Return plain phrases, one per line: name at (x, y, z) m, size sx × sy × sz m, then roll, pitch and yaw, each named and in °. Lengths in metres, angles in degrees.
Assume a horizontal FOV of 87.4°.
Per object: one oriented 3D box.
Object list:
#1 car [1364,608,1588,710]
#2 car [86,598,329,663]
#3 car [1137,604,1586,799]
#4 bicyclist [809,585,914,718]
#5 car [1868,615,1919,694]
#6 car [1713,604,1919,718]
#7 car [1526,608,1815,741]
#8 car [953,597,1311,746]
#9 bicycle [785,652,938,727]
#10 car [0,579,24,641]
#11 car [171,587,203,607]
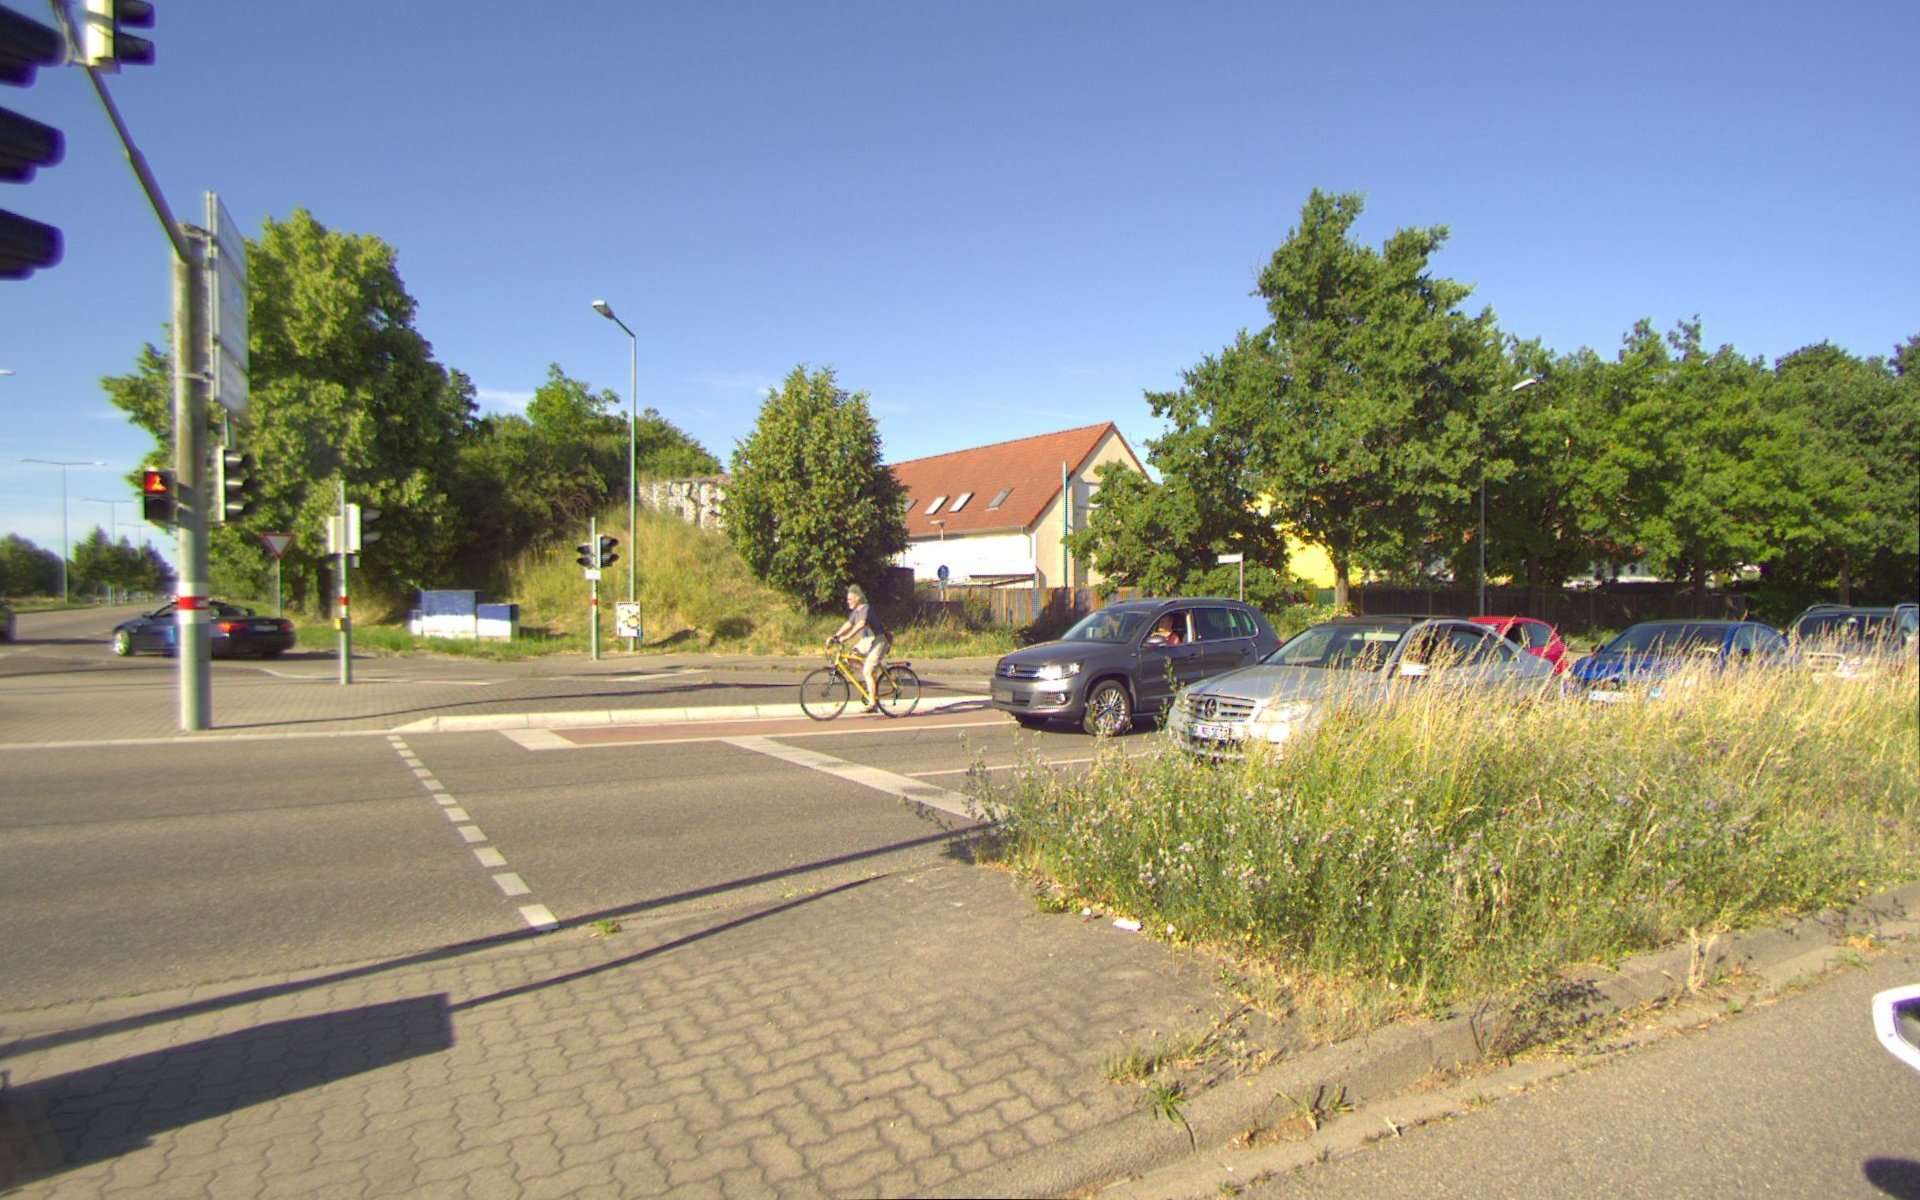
car at (8.598, 0.893, 16.671) m, size 3.670 × 1.503 × 1.637 m, roll 0°, pitch 0°, yaw -31°
car at (-17.475, 0.689, 23.407) m, size 4.588 × 1.327 × 2.049 m, roll 1°, pitch -1°, yaw 13°
car at (4.035, 0.812, 9.880) m, size 4.477 × 1.526 × 1.784 m, roll 0°, pitch 0°, yaw -31°
bicyclist at (-1.341, 0.667, 13.650) m, size 1.228 × 1.725 × 0.740 m, roll 0°, pitch 0°, yaw -32°
car at (20.068, 1.042, 19.894) m, size 4.349 × 1.470 × 1.983 m, roll 0°, pitch 0°, yaw -32°
car at (14.522, 0.887, 16.484) m, size 4.479 × 1.638 × 1.983 m, roll 0°, pitch 0°, yaw -32°
car at (9.436, 0.872, 13.287) m, size 3.842 × 1.503 × 1.738 m, roll 0°, pitch 0°, yaw -31°
car at (2.326, 0.804, 13.263) m, size 4.477 × 1.666 × 1.984 m, roll 0°, pitch 0°, yaw -31°
bicycle at (-1.324, 1.188, 13.667) m, size 1.968 × 0.859 × 0.745 m, roll 0°, pitch 0°, yaw -32°
car at (-27.146, 0.284, 27.290) m, size 1.813 × 1.649 × 3.963 m, roll -1°, pitch 2°, yaw -33°
car at (-67.021, -0.262, 87.109) m, size 2.028 × 1.638 × 4.371 m, roll -3°, pitch 2°, yaw -37°
